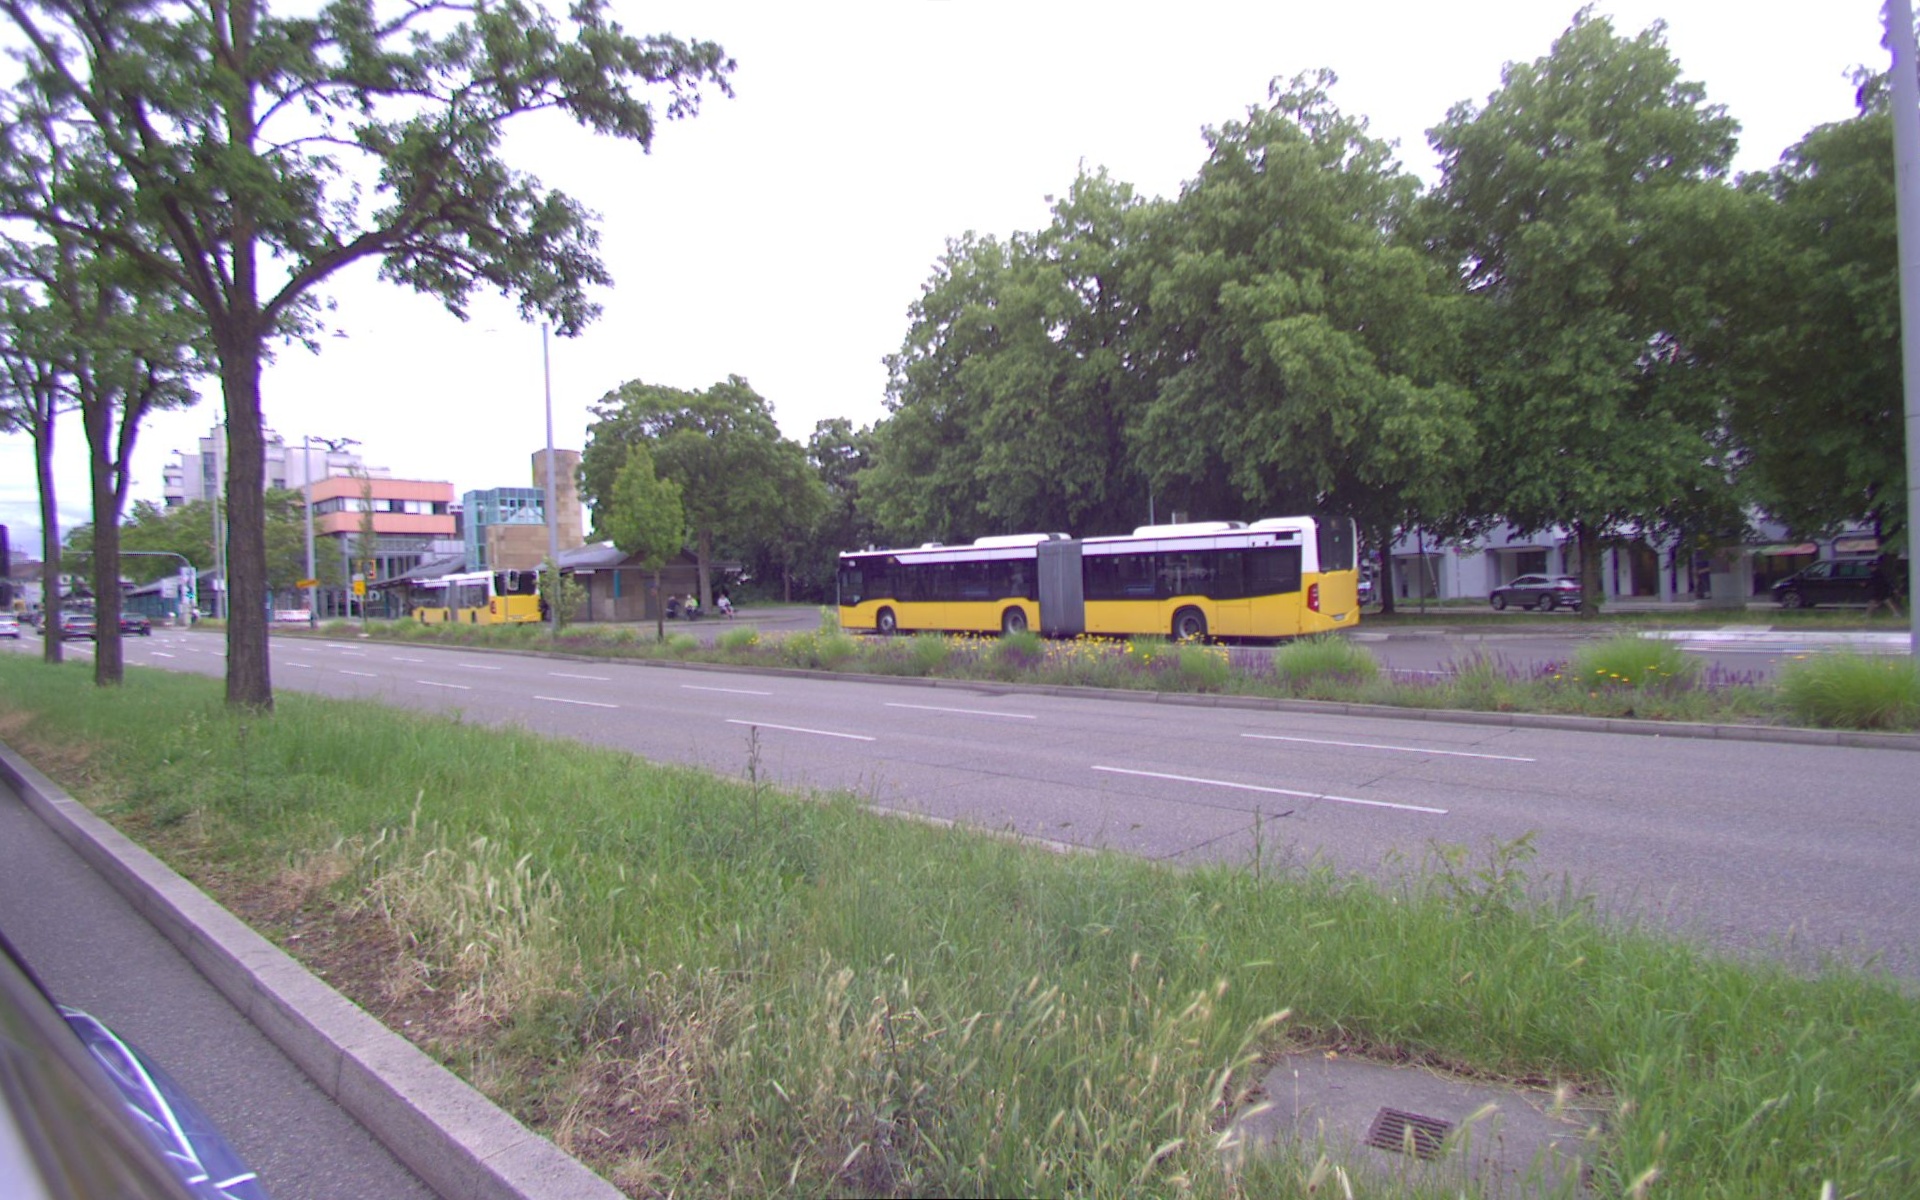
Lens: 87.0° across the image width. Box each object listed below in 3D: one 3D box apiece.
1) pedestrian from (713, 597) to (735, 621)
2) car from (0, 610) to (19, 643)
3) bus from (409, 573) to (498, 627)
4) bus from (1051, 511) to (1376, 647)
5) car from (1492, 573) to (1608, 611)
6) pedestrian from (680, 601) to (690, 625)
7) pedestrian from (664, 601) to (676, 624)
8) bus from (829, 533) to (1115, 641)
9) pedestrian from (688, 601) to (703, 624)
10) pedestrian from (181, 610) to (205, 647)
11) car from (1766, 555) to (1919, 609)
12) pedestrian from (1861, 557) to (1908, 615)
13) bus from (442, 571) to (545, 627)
[{"bbox_3d":[-11.913,0.469,51.115,0.924,1.180,0.641,-1,0,41],"label":"pedestrian"},{"bbox_3d":[-59.980,1.661,63.026,4.000,2.029,1.703,-1,0,43],"label":"car"},{"bbox_3d":[-31.159,0.052,62.022,2.846,3.025,9.191,-1,0,-40],"label":"bus"},{"bbox_3d":[6.332,-0.425,26.473,2.849,3.025,7.889,-1,0,-44],"label":"bus"},{"bbox_3d":[25.172,-0.310,43.302,1.729,1.524,4.013,-1,0,-23],"label":"car"},{"bbox_3d":[-13.694,0.629,50.356,0.361,1.175,0.900,-1,0,-23],"label":"pedestrian"},{"bbox_3d":[-14.943,0.645,52.121,0.589,1.171,0.745,-1,0,-18],"label":"pedestrian"},{"bbox_3d":[-0.004,-0.309,33.078,2.848,3.025,10.401,-1,0,-44],"label":"bus"},{"bbox_3d":[-13.206,0.623,50.537,0.589,1.171,0.745,-1,0,-23],"label":"pedestrian"},{"bbox_3d":[-58.774,2.148,77.541,1.133,2.809,0.902,-1,0,8],"label":"pedestrian"},{"bbox_3d":[33.135,-0.634,37.792,1.758,1.861,4.429,-1,0,-35],"label":"car"},{"bbox_3d":[25.560,-0.370,28.005,0.904,1.569,0.761,-2,0,41],"label":"pedestrian"},{"bbox_3d":[-25.648,-0.020,55.372,2.846,2.830,9.191,-1,0,-40],"label":"bus"}]
